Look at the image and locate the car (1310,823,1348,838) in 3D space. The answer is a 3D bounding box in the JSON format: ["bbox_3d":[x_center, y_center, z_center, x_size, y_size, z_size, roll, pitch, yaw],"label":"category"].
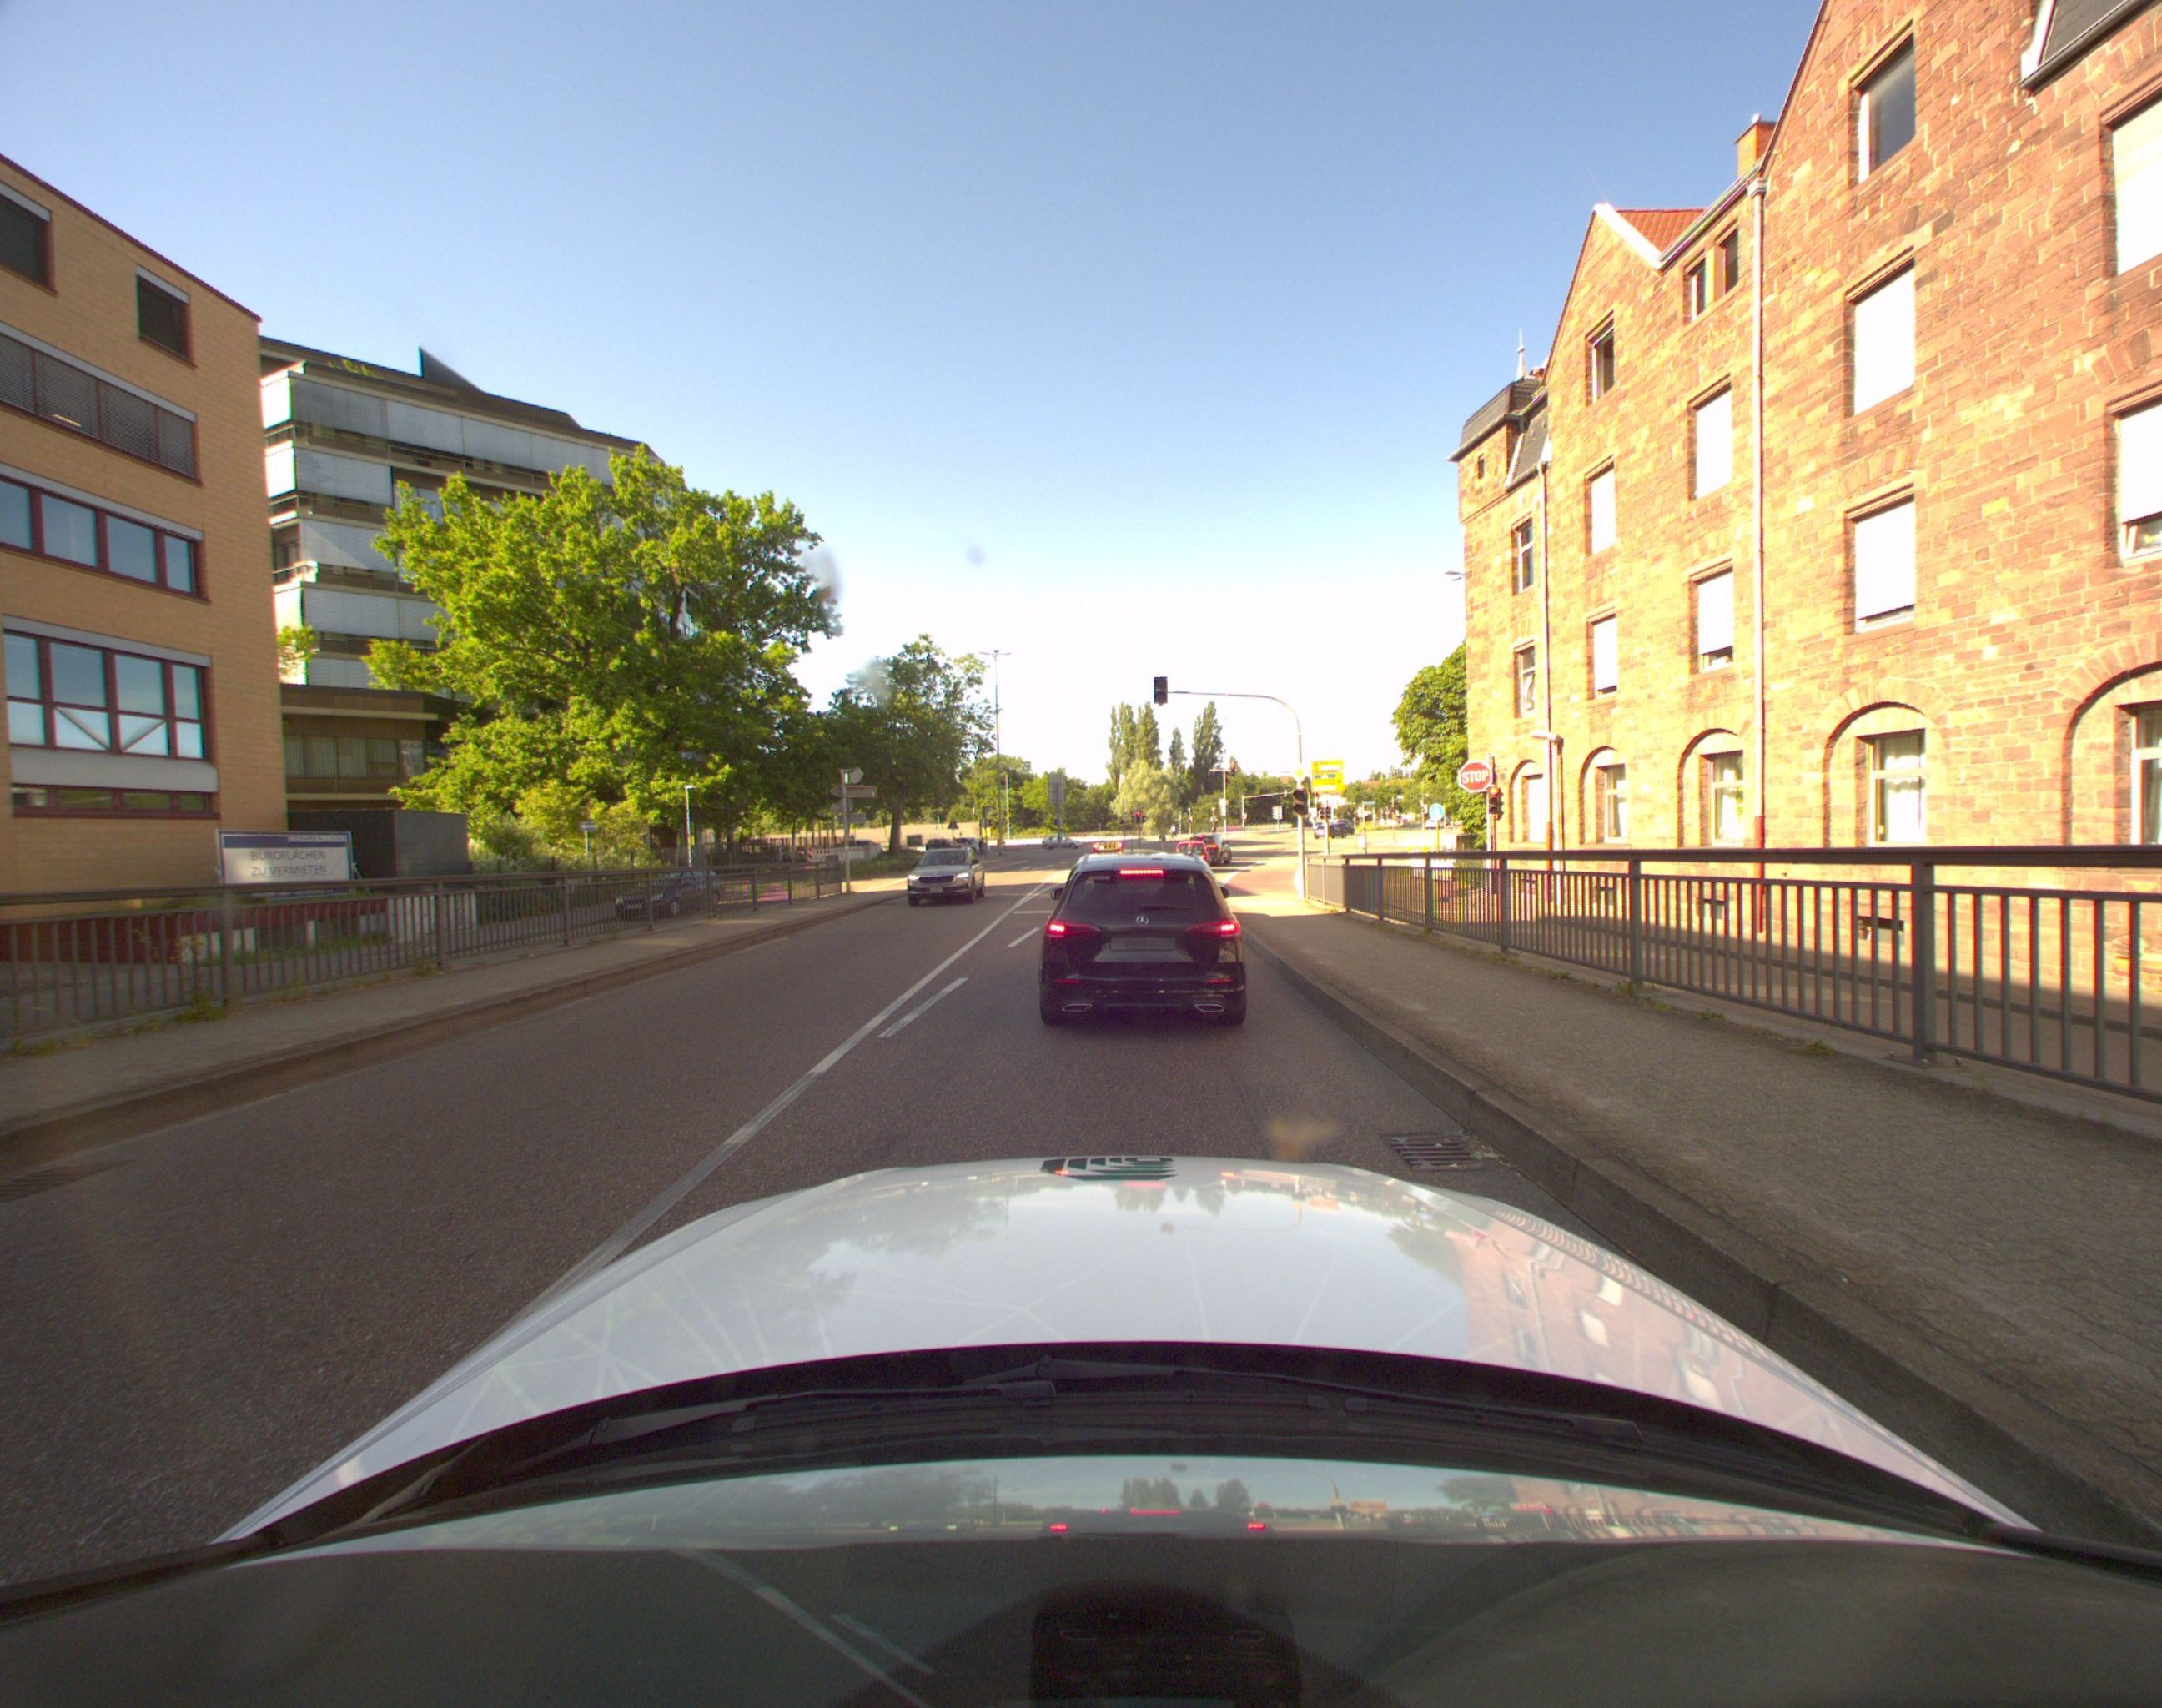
[{"bbox_3d":[26.616,-2.500,87.274,4.017,1.498,1.726,-1,0,-35],"label":"car"}]

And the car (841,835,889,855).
[{"bbox_3d":[-21.834,-0.868,82.368,4.835,1.794,1.937,-2,2,35],"label":"car"}]

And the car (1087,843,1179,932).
[{"bbox_3d":[1.088,0.603,16.798,1.632,1.529,3.478,-2,1,4],"label":"car"}]

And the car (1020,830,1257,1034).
[{"bbox_3d":[0.520,0.602,8.482,1.871,1.613,4.002,0,0,2],"label":"car"}]

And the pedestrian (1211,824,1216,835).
[{"bbox_3d":[18.423,-3.397,113.537,0.446,1.585,0.504,-2,1,42],"label":"pedestrian"}]

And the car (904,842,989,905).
[{"bbox_3d":[-3.865,0.502,24.011,1.798,1.623,3.999,-2,1,0],"label":"car"}]

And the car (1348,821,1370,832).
[{"bbox_3d":[42.806,-4.213,125.348,1.860,1.578,4.026,-1,2,38],"label":"car"}]

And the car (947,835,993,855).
[{"bbox_3d":[-10.109,-0.810,73.996,3.948,1.635,1.795,-1,3,38],"label":"car"}]

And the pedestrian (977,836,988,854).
[{"bbox_3d":[-8.302,-0.785,68.397,0.700,1.525,0.746,-1,1,12],"label":"pedestrian"}]

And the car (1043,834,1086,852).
[{"bbox_3d":[-1.616,-1.088,81.335,3.960,1.629,1.897,-2,1,12],"label":"car"}]

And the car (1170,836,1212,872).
[{"bbox_3d":[5.366,-0.036,39.435,1.710,1.521,3.499,-1,3,13],"label":"car"}]

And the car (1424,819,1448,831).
[{"bbox_3d":[48.653,-3.975,111.591,1.974,1.365,4.343,-1,3,37],"label":"car"}]

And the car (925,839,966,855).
[{"bbox_3d":[-14.368,-0.756,86.151,3.949,1.629,1.903,-1,1,30],"label":"car"}]

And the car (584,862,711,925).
[{"bbox_3d":[-13.952,1.204,26.506,1.844,1.692,4.002,-2,2,2],"label":"car"}]

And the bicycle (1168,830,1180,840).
[{"bbox_3d":[11.093,-2.250,96.820,0.520,1.050,2.003,-2,1,33],"label":"bicycle"}]

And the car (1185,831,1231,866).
[{"bbox_3d":[7.085,-0.311,45.035,1.707,1.812,4.319,-1,0,19],"label":"car"}]

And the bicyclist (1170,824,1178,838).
[{"bbox_3d":[11.080,-2.731,96.800,0.520,1.551,0.812,-2,1,33],"label":"bicyclist"}]
